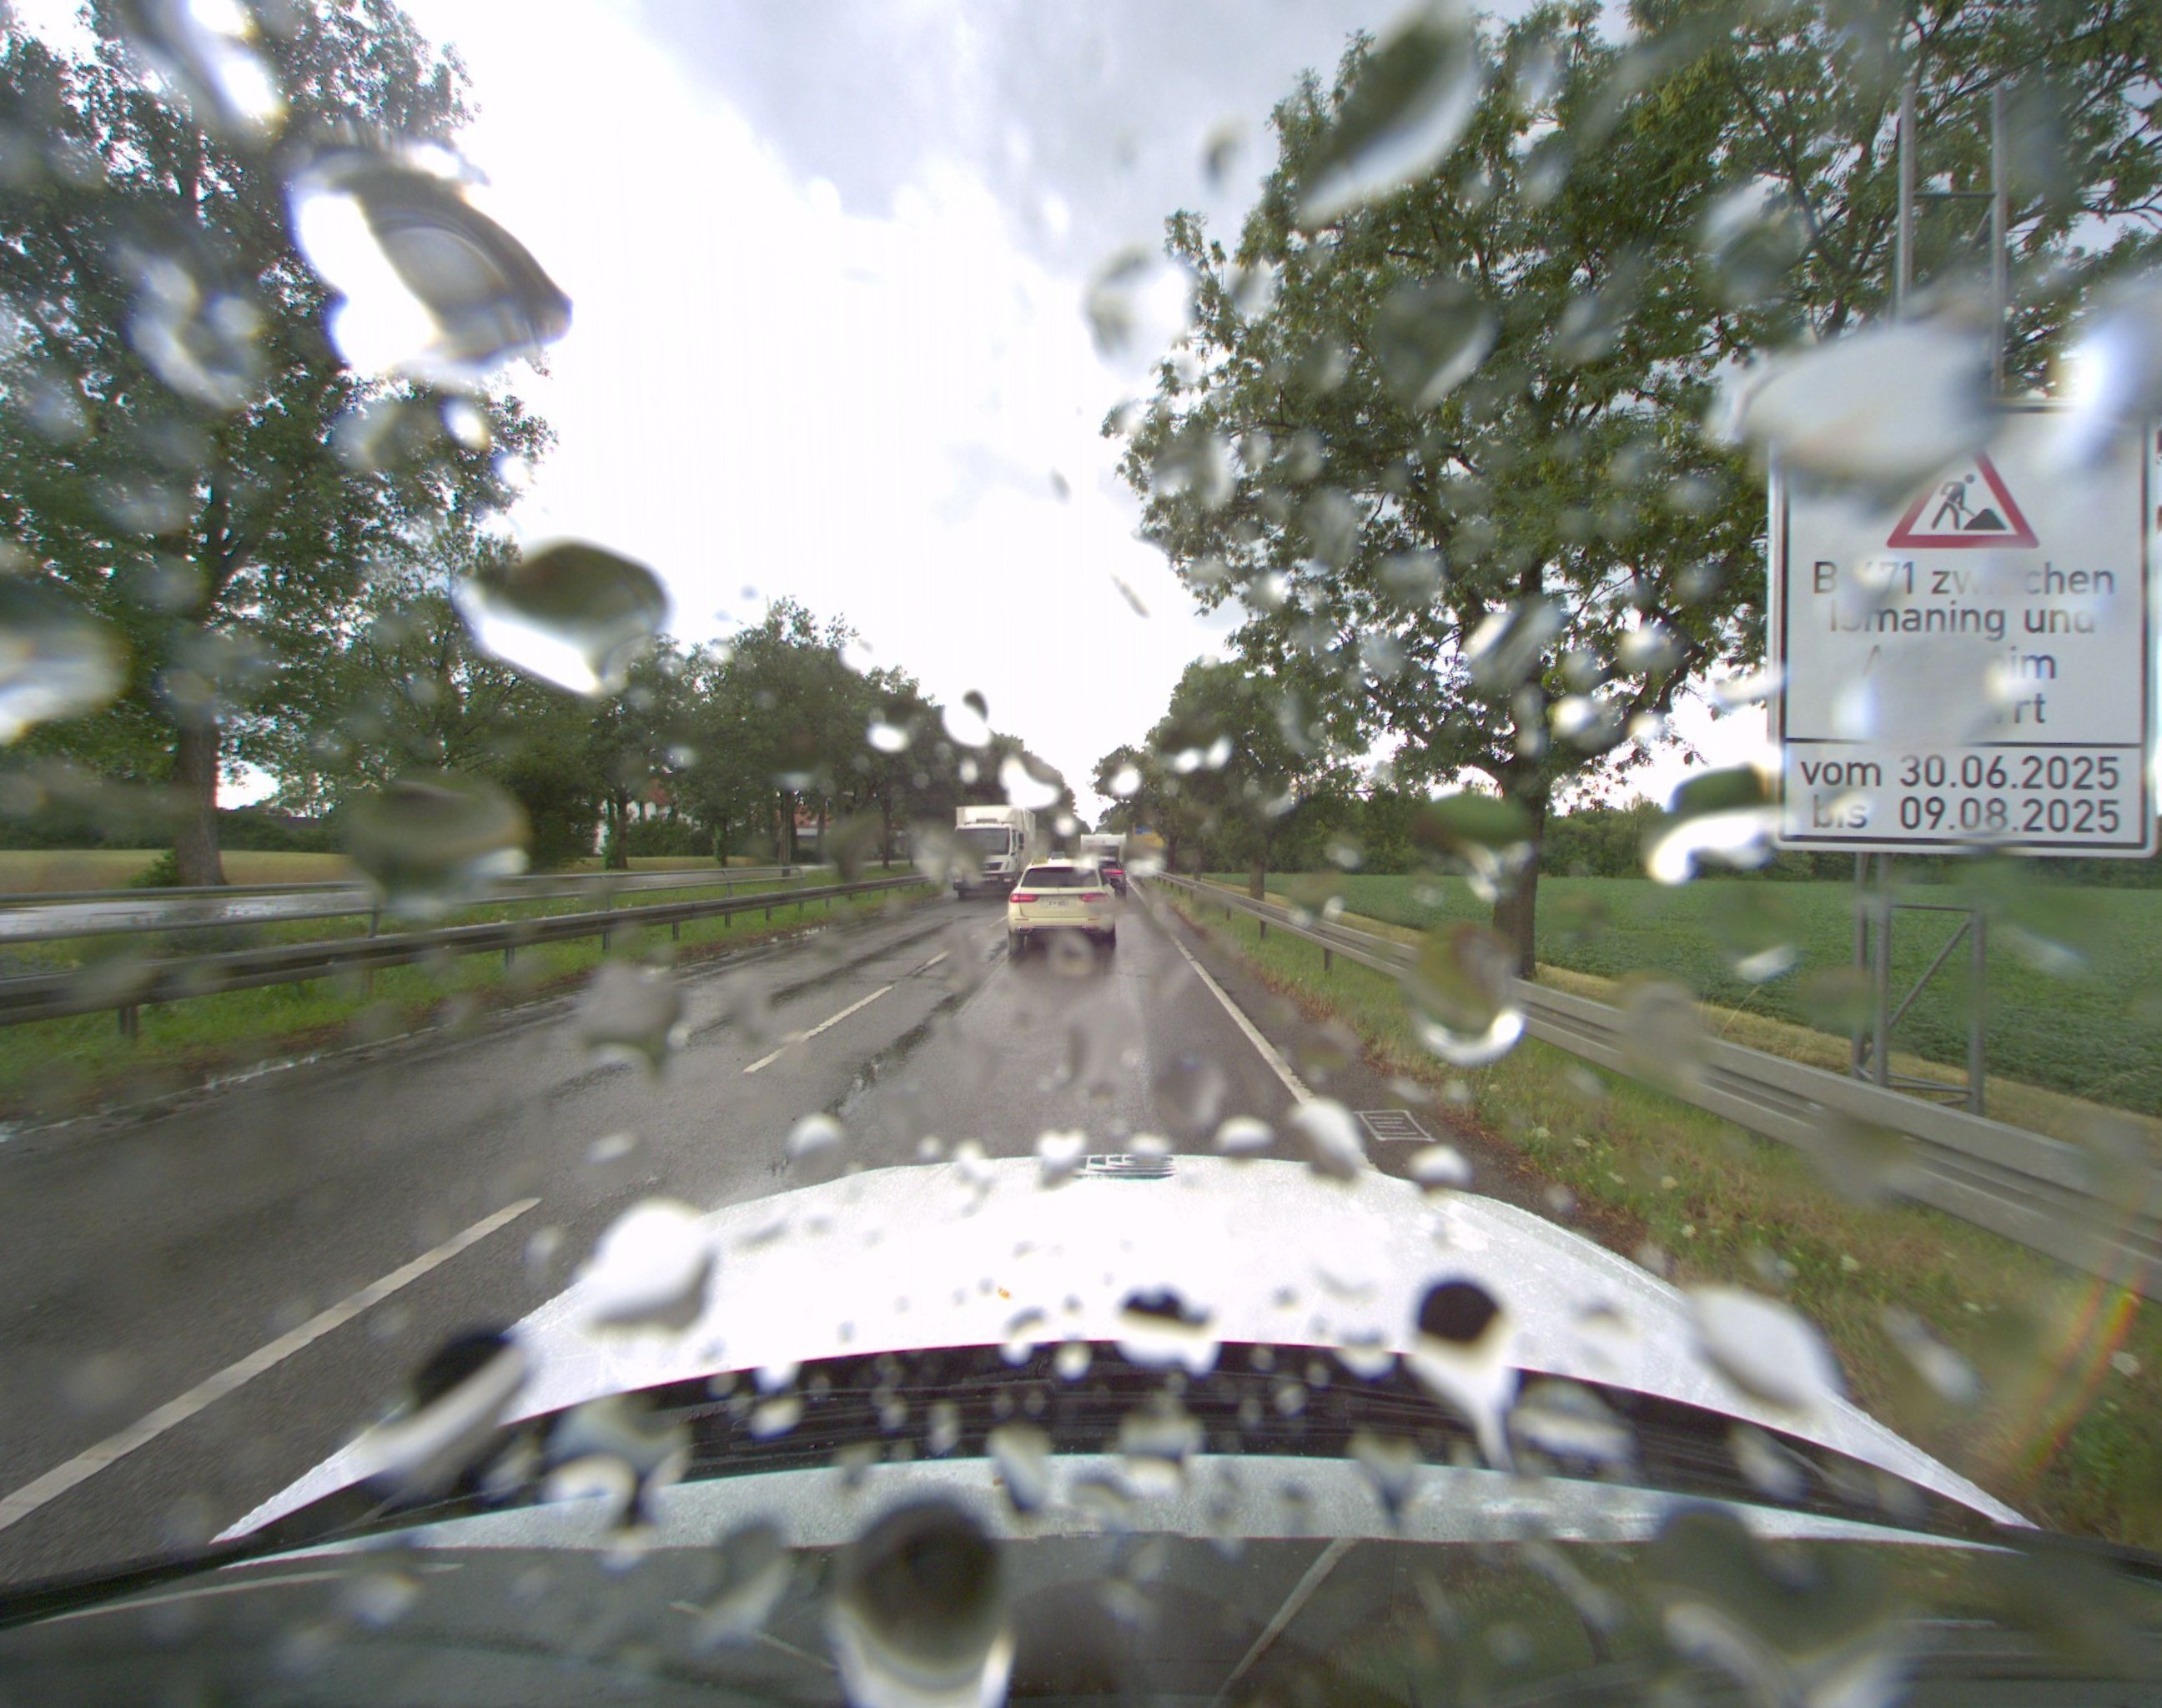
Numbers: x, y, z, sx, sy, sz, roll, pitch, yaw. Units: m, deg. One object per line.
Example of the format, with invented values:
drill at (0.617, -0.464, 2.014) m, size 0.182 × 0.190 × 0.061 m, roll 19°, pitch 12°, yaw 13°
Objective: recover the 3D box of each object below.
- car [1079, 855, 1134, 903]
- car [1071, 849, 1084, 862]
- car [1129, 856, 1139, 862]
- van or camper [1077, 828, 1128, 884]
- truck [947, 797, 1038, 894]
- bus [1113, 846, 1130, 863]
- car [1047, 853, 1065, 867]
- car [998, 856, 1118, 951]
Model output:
car at (0.893, 0.781, 27.128) m, size 1.657 × 1.430 × 4.003 m, roll -1°, pitch 0°, yaw 3°
car at (-0.479, 0.210, 121.326) m, size 1.821 × 1.802 × 4.416 m, roll -1°, pitch 0°, yaw 1°
car at (8.916, 0.858, 136.878) m, size 1.545 × 1.118 × 4.003 m, roll 0°, pitch -1°, yaw 3°
van or camper at (1.188, 0.087, 42.278) m, size 2.479 × 2.685 × 5.705 m, roll 0°, pitch 0°, yaw 3°
truck at (-3.461, -0.330, 34.222) m, size 2.567 × 3.452 × 9.557 m, roll -1°, pitch 0°, yaw 1°
bus at (5.147, 0.082, 103.469) m, size 1.986 × 2.013 × 4.001 m, roll -1°, pitch 0°, yaw 1°
car at (-2.633, 0.578, 86.248) m, size 1.708 × 1.451 × 4.112 m, roll 0°, pitch 0°, yaw 1°
car at (-0.272, 0.783, 14.882) m, size 1.857 × 1.476 × 4.003 m, roll -1°, pitch 0°, yaw 3°
